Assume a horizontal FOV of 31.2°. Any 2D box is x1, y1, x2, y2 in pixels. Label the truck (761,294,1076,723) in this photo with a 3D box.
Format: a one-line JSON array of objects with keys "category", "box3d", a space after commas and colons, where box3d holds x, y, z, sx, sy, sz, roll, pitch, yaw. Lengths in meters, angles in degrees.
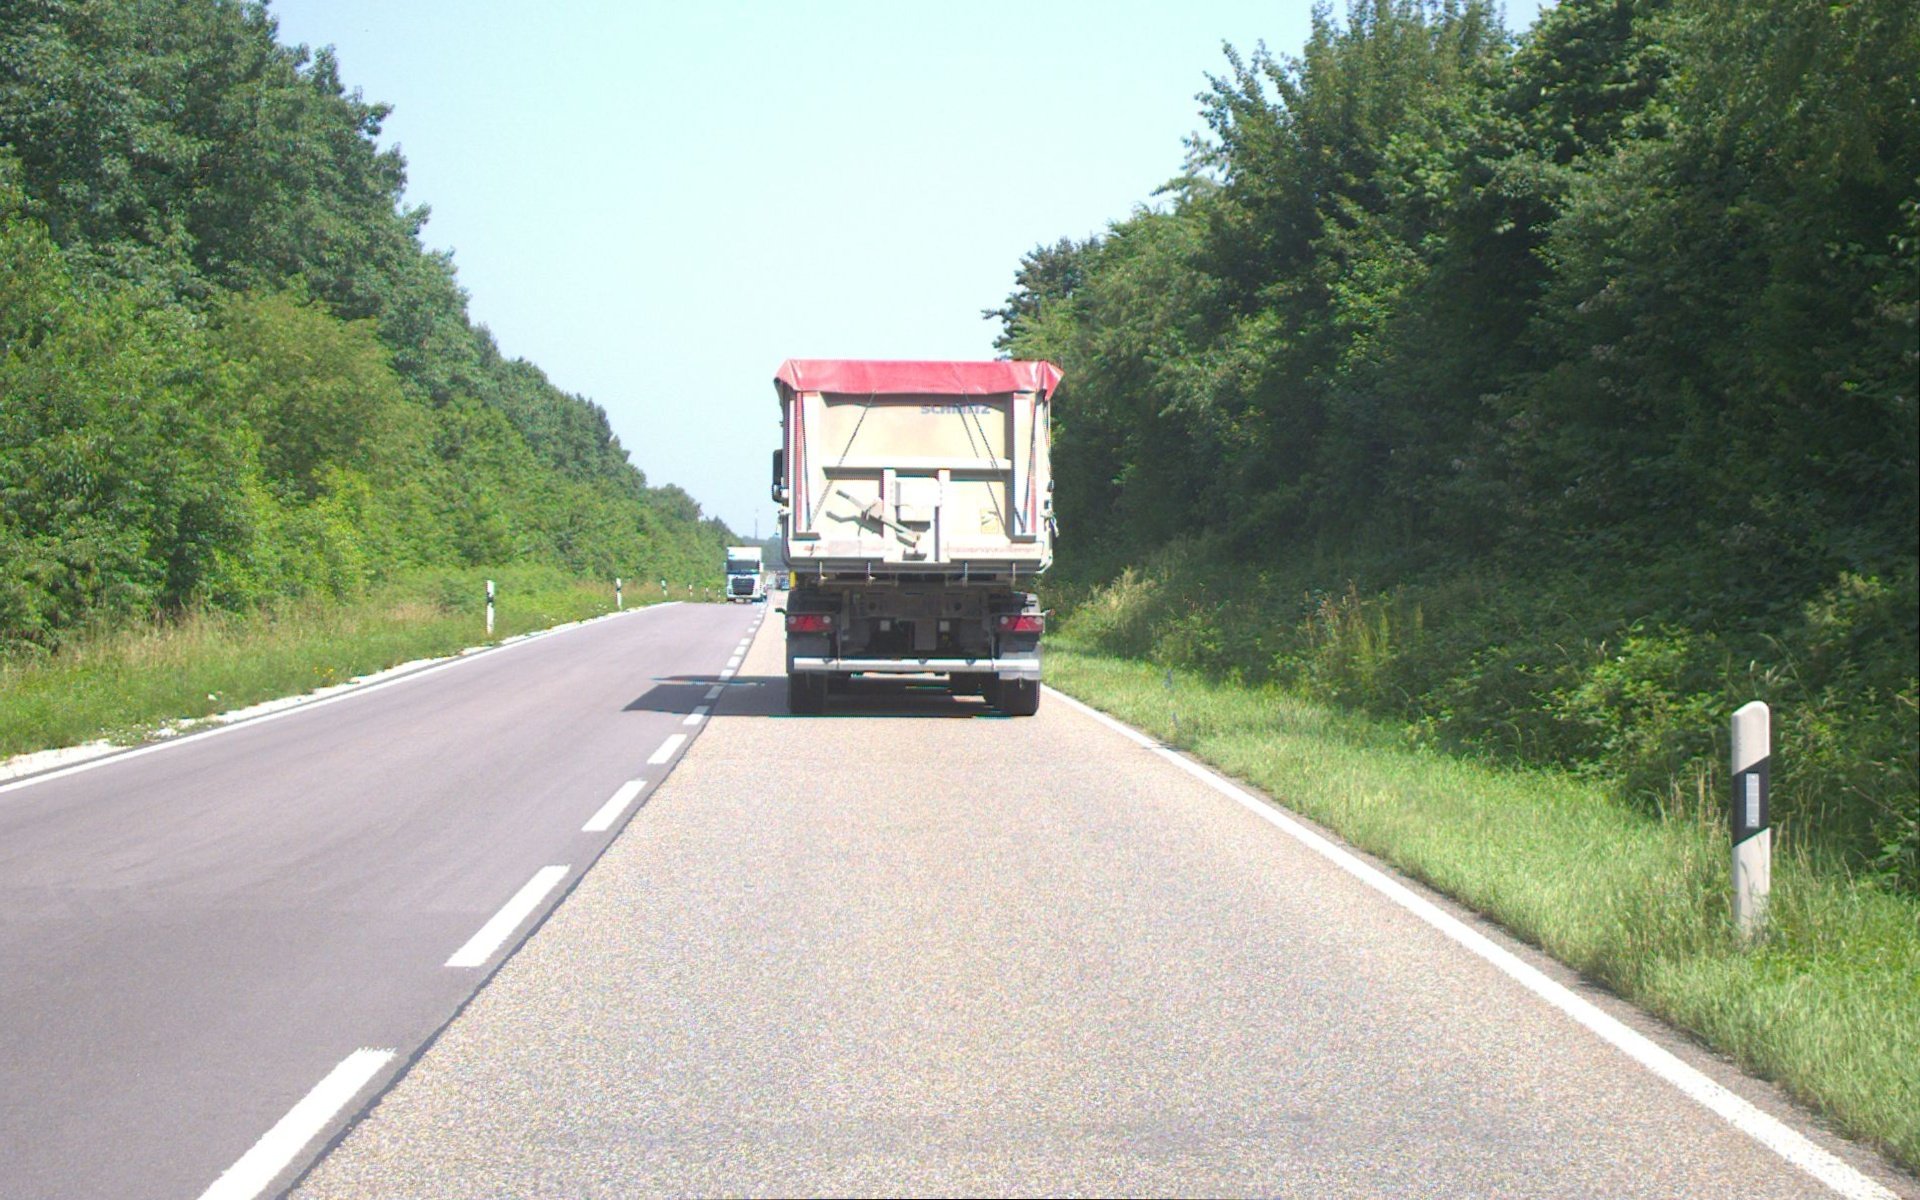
[{"category": "truck", "box3d": [-0.628, -0.940, 37.785, 2.893, 3.949, 11.934, 0, 1, -2]}]
